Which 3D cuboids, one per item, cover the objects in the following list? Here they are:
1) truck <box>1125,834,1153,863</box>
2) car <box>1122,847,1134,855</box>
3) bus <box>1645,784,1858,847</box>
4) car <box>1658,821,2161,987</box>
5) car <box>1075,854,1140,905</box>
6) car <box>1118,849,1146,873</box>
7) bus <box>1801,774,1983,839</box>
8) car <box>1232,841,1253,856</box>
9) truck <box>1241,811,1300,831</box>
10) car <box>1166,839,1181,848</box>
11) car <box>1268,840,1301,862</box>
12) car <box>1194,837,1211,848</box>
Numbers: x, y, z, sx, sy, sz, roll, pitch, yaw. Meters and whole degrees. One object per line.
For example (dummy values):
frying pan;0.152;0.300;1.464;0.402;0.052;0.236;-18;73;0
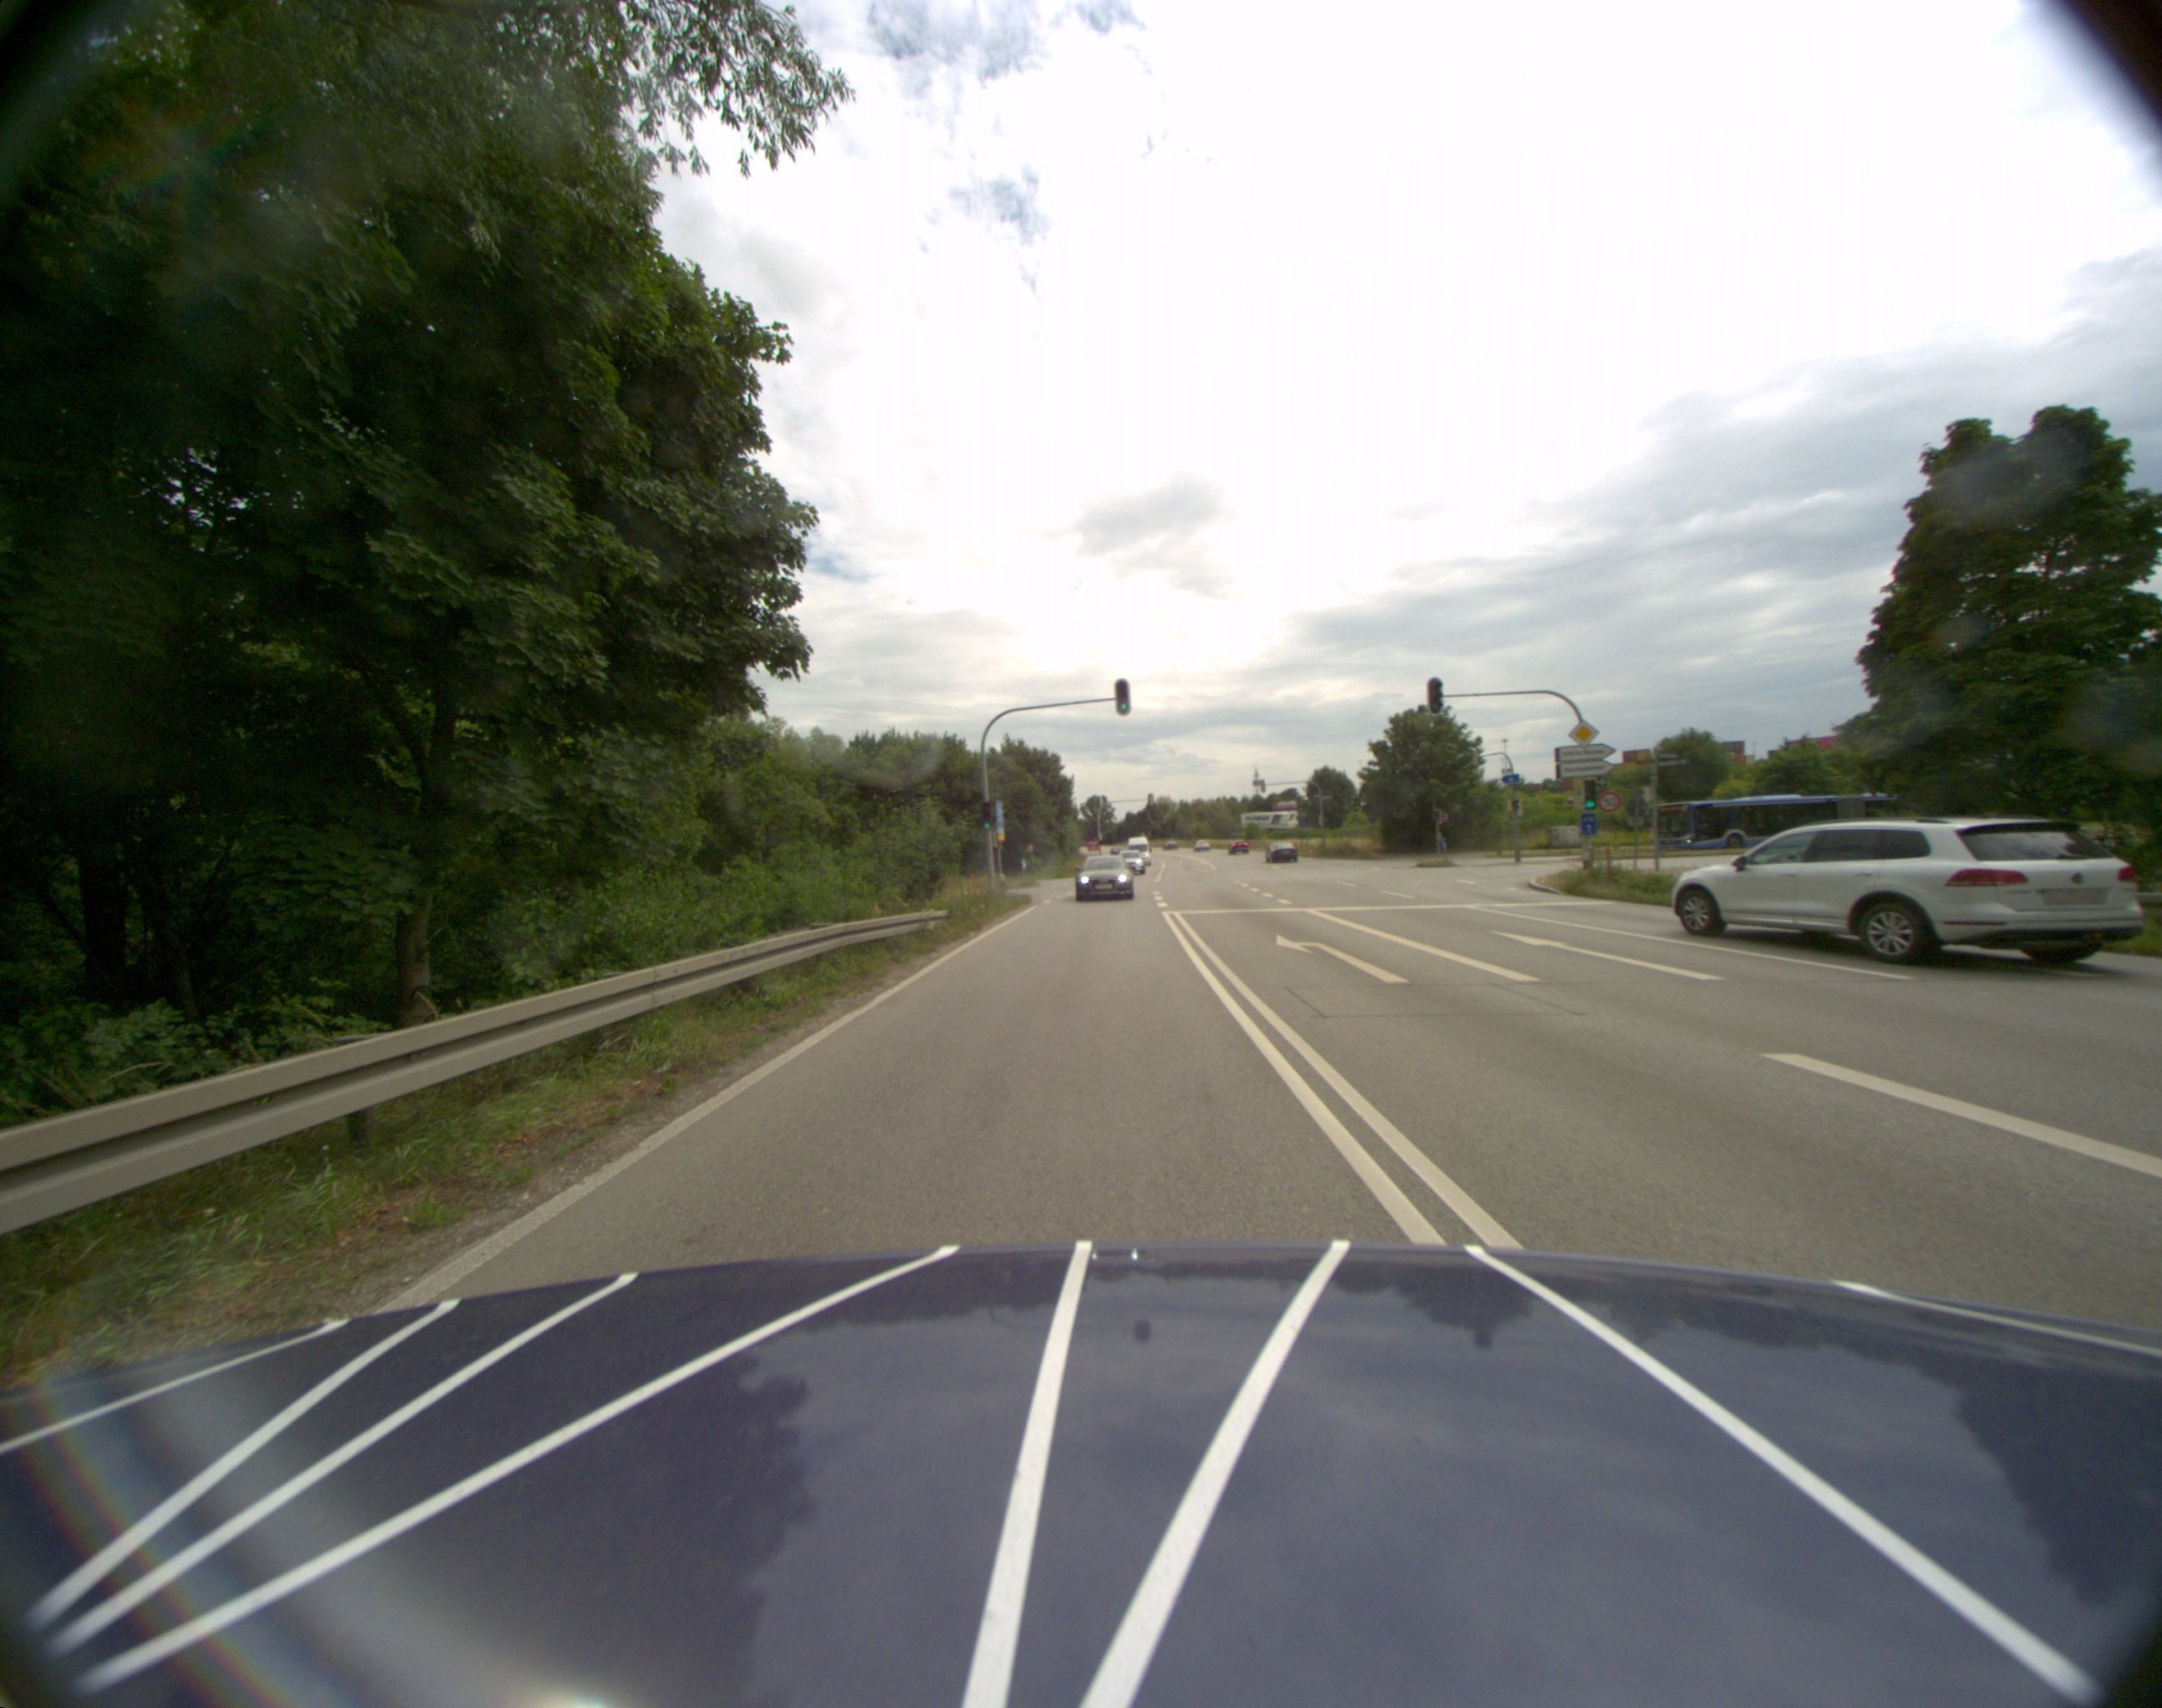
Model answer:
truck;5.619;-0.530;73.053;2.378;2.578;6.001;-2;1;6
car;7.241;-0.465;116.697;1.744;1.317;4.001;-1;0;3
bus;39.024;-2.201;44.408;10.069;3.029;3.120;-3;1;-4
car;10.247;0.497;9.995;1.862;1.633;4.737;-2;0;3
car;0.977;0.788;26.120;1.964;1.446;4.797;-2;1;3
car;3.422;0.458;51.183;1.826;1.489;4.225;-1;0;3
bus;47.950;-2.782;45.081;7.822;3.328;3.120;-3;1;-4
car;17.714;-0.639;83.698;1.743;1.377;4.001;-4;1;6
truck;41.916;-7.425;168.818;3.368;4.303;14.169;-4;5;-33
car;16.055;-1.821;131.872;1.745;1.378;3.997;-5;2;-5
car;14.539;-0.245;54.523;1.743;1.477;4.202;-3;1;8
car;17.536;-1.674;109.902;1.744;1.477;3.999;-5;1;0
